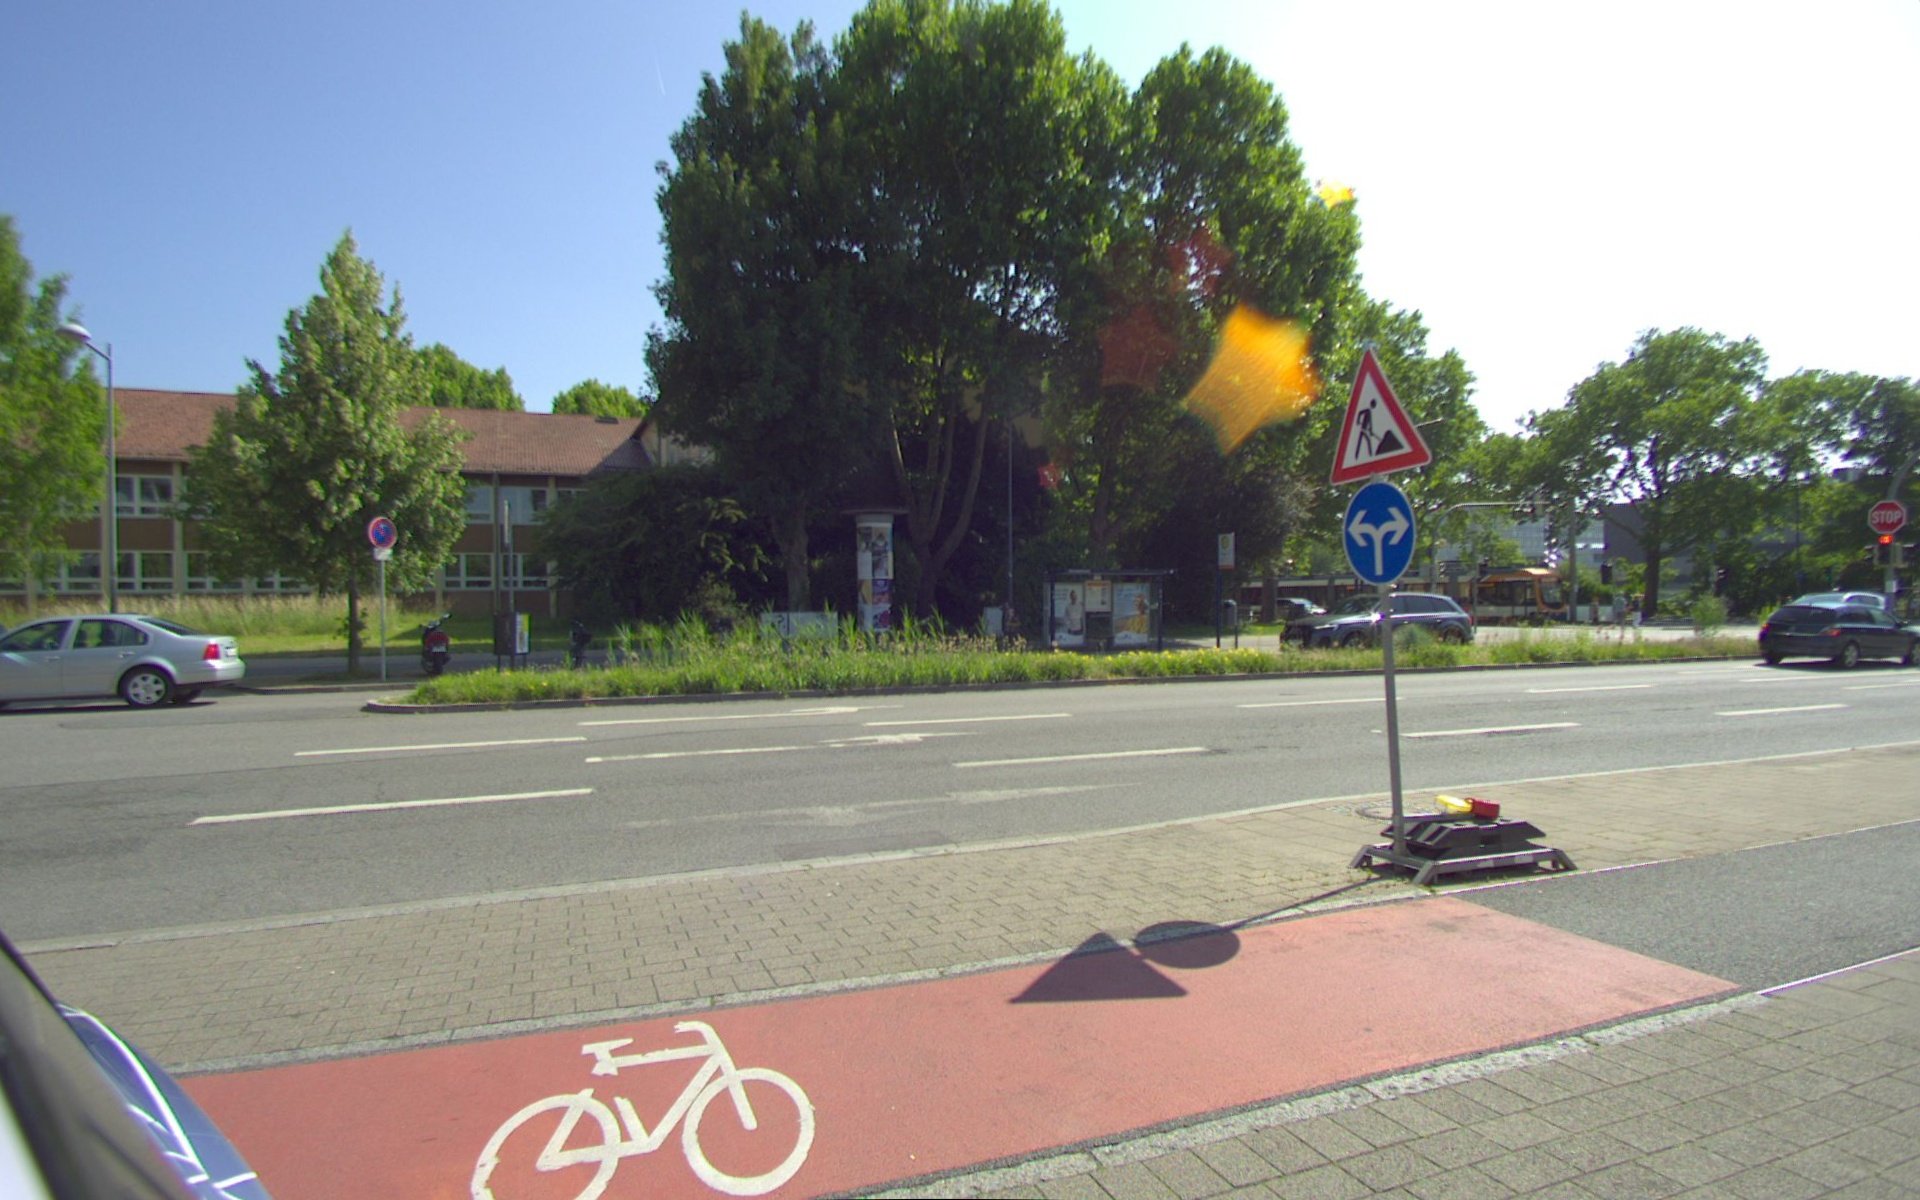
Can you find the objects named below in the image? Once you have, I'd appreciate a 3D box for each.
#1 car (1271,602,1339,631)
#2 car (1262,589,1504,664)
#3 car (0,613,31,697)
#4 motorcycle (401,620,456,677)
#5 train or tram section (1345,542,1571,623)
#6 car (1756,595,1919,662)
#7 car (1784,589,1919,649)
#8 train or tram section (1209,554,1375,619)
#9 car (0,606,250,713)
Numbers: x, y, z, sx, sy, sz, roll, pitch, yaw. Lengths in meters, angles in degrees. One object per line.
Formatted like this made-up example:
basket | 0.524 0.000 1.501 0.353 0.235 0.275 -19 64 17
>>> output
car | 21.397 1.032 62.861 1.837 1.702 4.012 0 -2 -20
car | 10.335 0.634 24.715 5.561 1.623 2.006 -1 -3 -22
car | -18.944 1.043 18.662 4.213 1.471 1.722 -2 -2 33
motorcycle | -11.208 1.001 21.312 0.549 1.122 1.760 0 0 -44
train or tram section | 30.564 -0.908 63.606 2.288 4.524 14.993 0 -1 -22
car | 20.286 0.603 22.991 3.932 1.377 1.691 0 2 -22
car | 28.594 0.562 31.904 4.316 1.782 2.006 -1 0 -17
train or tram section | 24.912 -0.861 77.609 2.288 4.524 15.978 0 -1 -22
car | -13.508 0.879 15.436 4.088 1.495 1.746 -1 -1 -22
